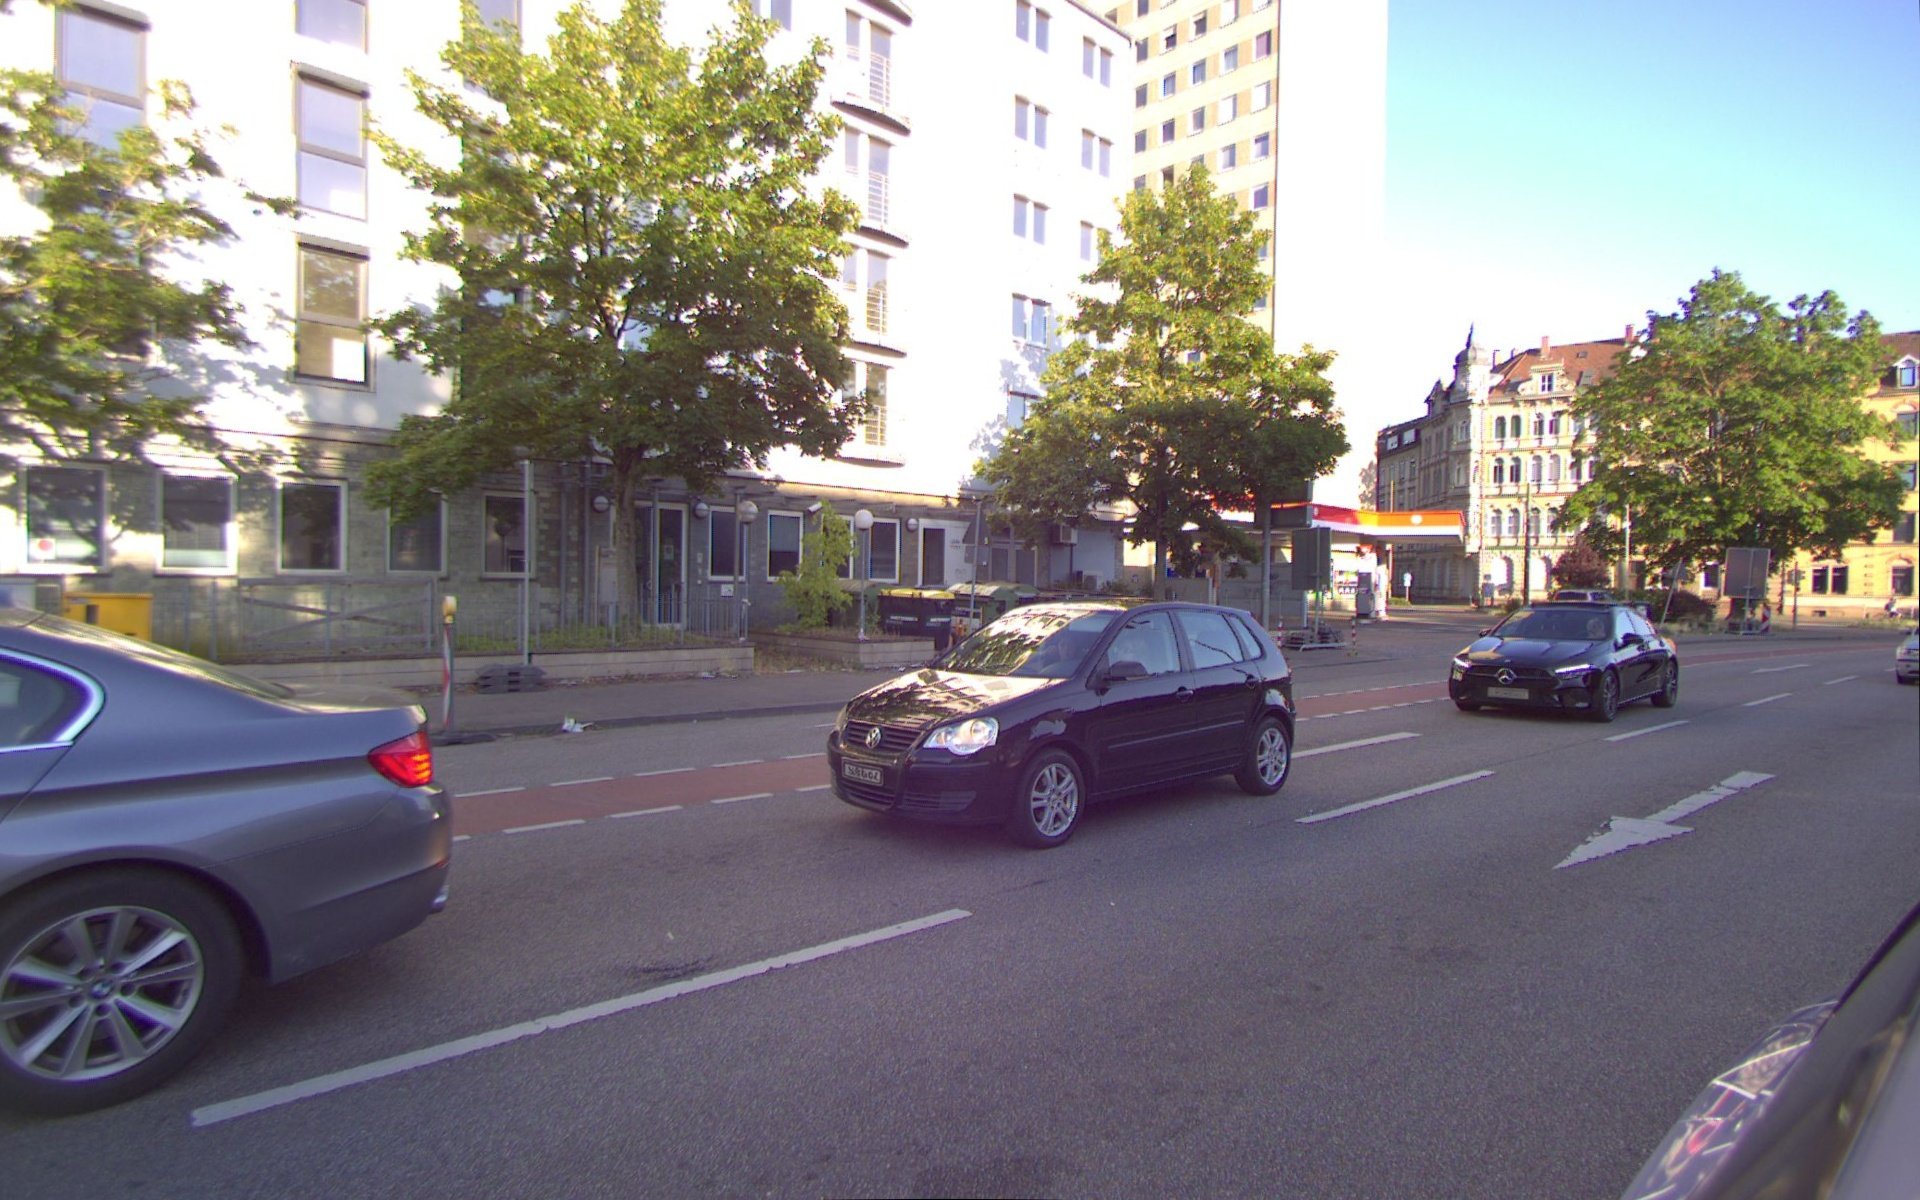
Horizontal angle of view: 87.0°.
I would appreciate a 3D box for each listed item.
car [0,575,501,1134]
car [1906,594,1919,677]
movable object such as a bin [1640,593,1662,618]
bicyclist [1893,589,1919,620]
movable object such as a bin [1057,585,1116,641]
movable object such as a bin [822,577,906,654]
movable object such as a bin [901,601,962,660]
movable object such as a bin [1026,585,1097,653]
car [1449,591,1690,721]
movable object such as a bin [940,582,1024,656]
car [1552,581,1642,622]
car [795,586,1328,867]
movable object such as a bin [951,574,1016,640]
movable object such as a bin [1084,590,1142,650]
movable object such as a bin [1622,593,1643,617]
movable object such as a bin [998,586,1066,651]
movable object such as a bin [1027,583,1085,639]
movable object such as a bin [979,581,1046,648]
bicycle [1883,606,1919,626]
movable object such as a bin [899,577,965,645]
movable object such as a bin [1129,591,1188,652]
[{"bbox_3d":[-3.879,0.664,2.618,4.588,1.467,1.817,0,0,-43],"label":"car"},{"bbox_3d":[18.866,0.621,18.537,4.360,1.436,1.674,0,0,-39],"label":"car"},{"bbox_3d":[29.423,0.229,43.104,0.675,1.031,0.544,0,1,-36],"label":"movable object such as a bin"},{"bbox_3d":[53.750,0.248,57.469,1.062,1.669,0.721,2,1,43],"label":"bicyclist"},{"bbox_3d":[3.084,0.290,24.624,1.080,1.299,0.954,0,1,-44],"label":"movable object such as a bin"},{"bbox_3d":[-1.942,0.286,20.409,1.348,1.479,1.088,2,1,45],"label":"movable object such as a bin"},{"bbox_3d":[-0.554,0.573,19.478,0.851,1.058,0.807,2,1,45],"label":"movable object such as a bin"},{"bbox_3d":[2.109,0.377,21.073,1.143,1.345,0.954,0,1,-44],"label":"movable object such as a bin"},{"bbox_3d":[8.189,0.615,13.451,3.977,1.467,1.729,0,0,-43],"label":"car"},{"bbox_3d":[0.443,0.359,20.896,1.348,1.441,1.088,2,2,45],"label":"movable object such as a bin"},{"bbox_3d":[25.771,0.031,40.911,3.723,1.535,1.691,-1,2,-34],"label":"car"},{"bbox_3d":[0.887,0.646,7.145,3.804,1.467,1.583,0,0,-41],"label":"car"},{"bbox_3d":[0.557,0.155,24.191,1.143,1.517,1.033,0,1,-44],"label":"movable object such as a bin"},{"bbox_3d":[3.577,0.449,23.630,0.938,1.345,0.954,0,1,-43],"label":"movable object such as a bin"},{"bbox_3d":[29.109,0.213,43.790,0.675,1.031,0.544,0,1,-36],"label":"movable object such as a bin"},{"bbox_3d":[1.563,0.385,22.069,1.143,1.345,0.954,0,1,-44],"label":"movable object such as a bin"},{"bbox_3d":[2.405,0.260,25.352,1.080,1.345,0.954,0,1,-44],"label":"movable object such as a bin"},{"bbox_3d":[1.204,0.320,23.199,1.143,1.467,1.033,0,1,-44],"label":"movable object such as a bin"},{"bbox_3d":[53.728,0.905,57.481,1.920,1.072,0.444,2,1,43],"label":"bicycle"},{"bbox_3d":[-0.661,0.236,23.629,1.143,1.517,1.033,0,1,-44],"label":"movable object such as a bin"},{"bbox_3d":[4.543,0.475,23.182,0.938,1.345,0.954,0,1,-43],"label":"movable object such as a bin"}]
